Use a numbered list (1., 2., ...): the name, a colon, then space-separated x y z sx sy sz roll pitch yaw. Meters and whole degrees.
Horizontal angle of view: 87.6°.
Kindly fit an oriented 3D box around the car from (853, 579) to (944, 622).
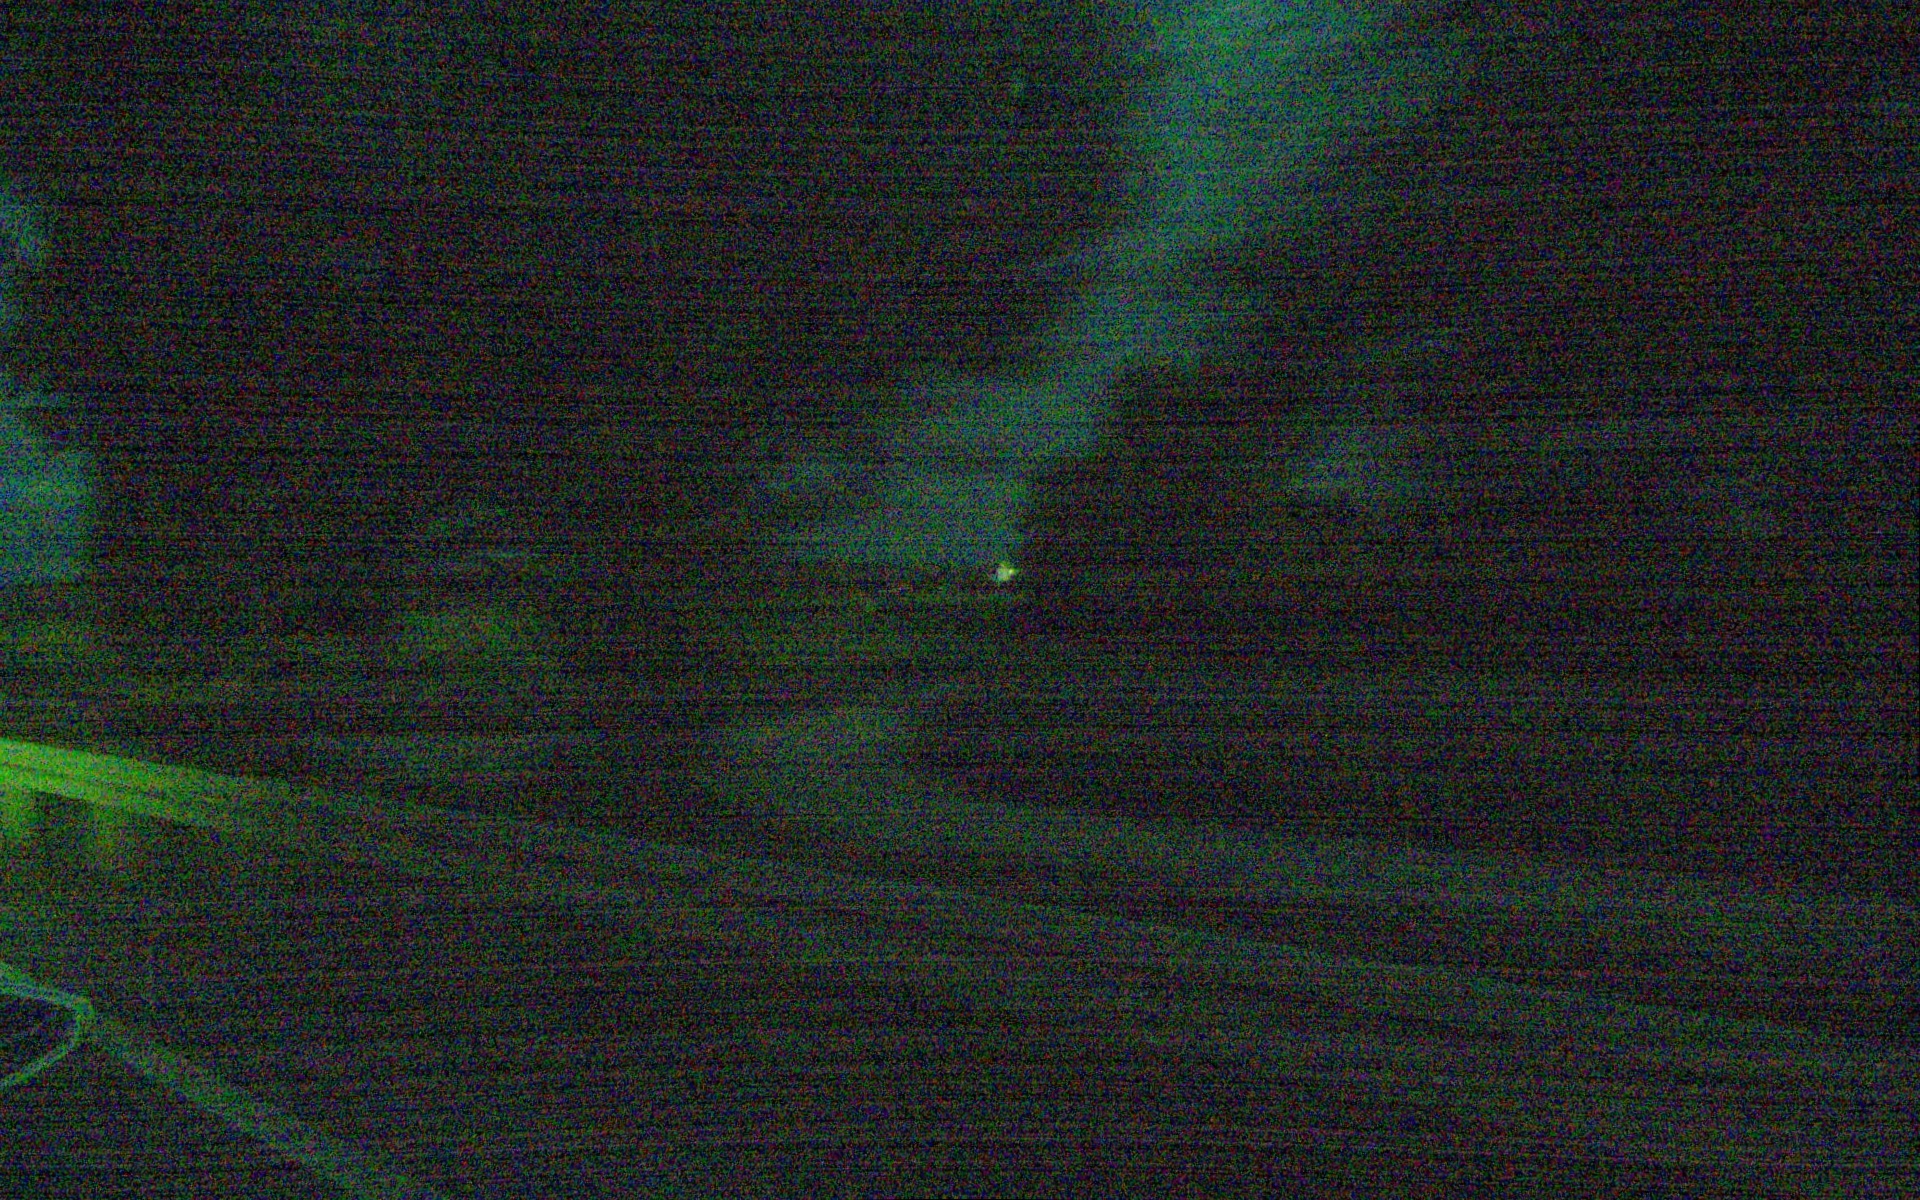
1. car: -3.305 0.061 53.841 4.500 2.180 1.996 -1 0 21
